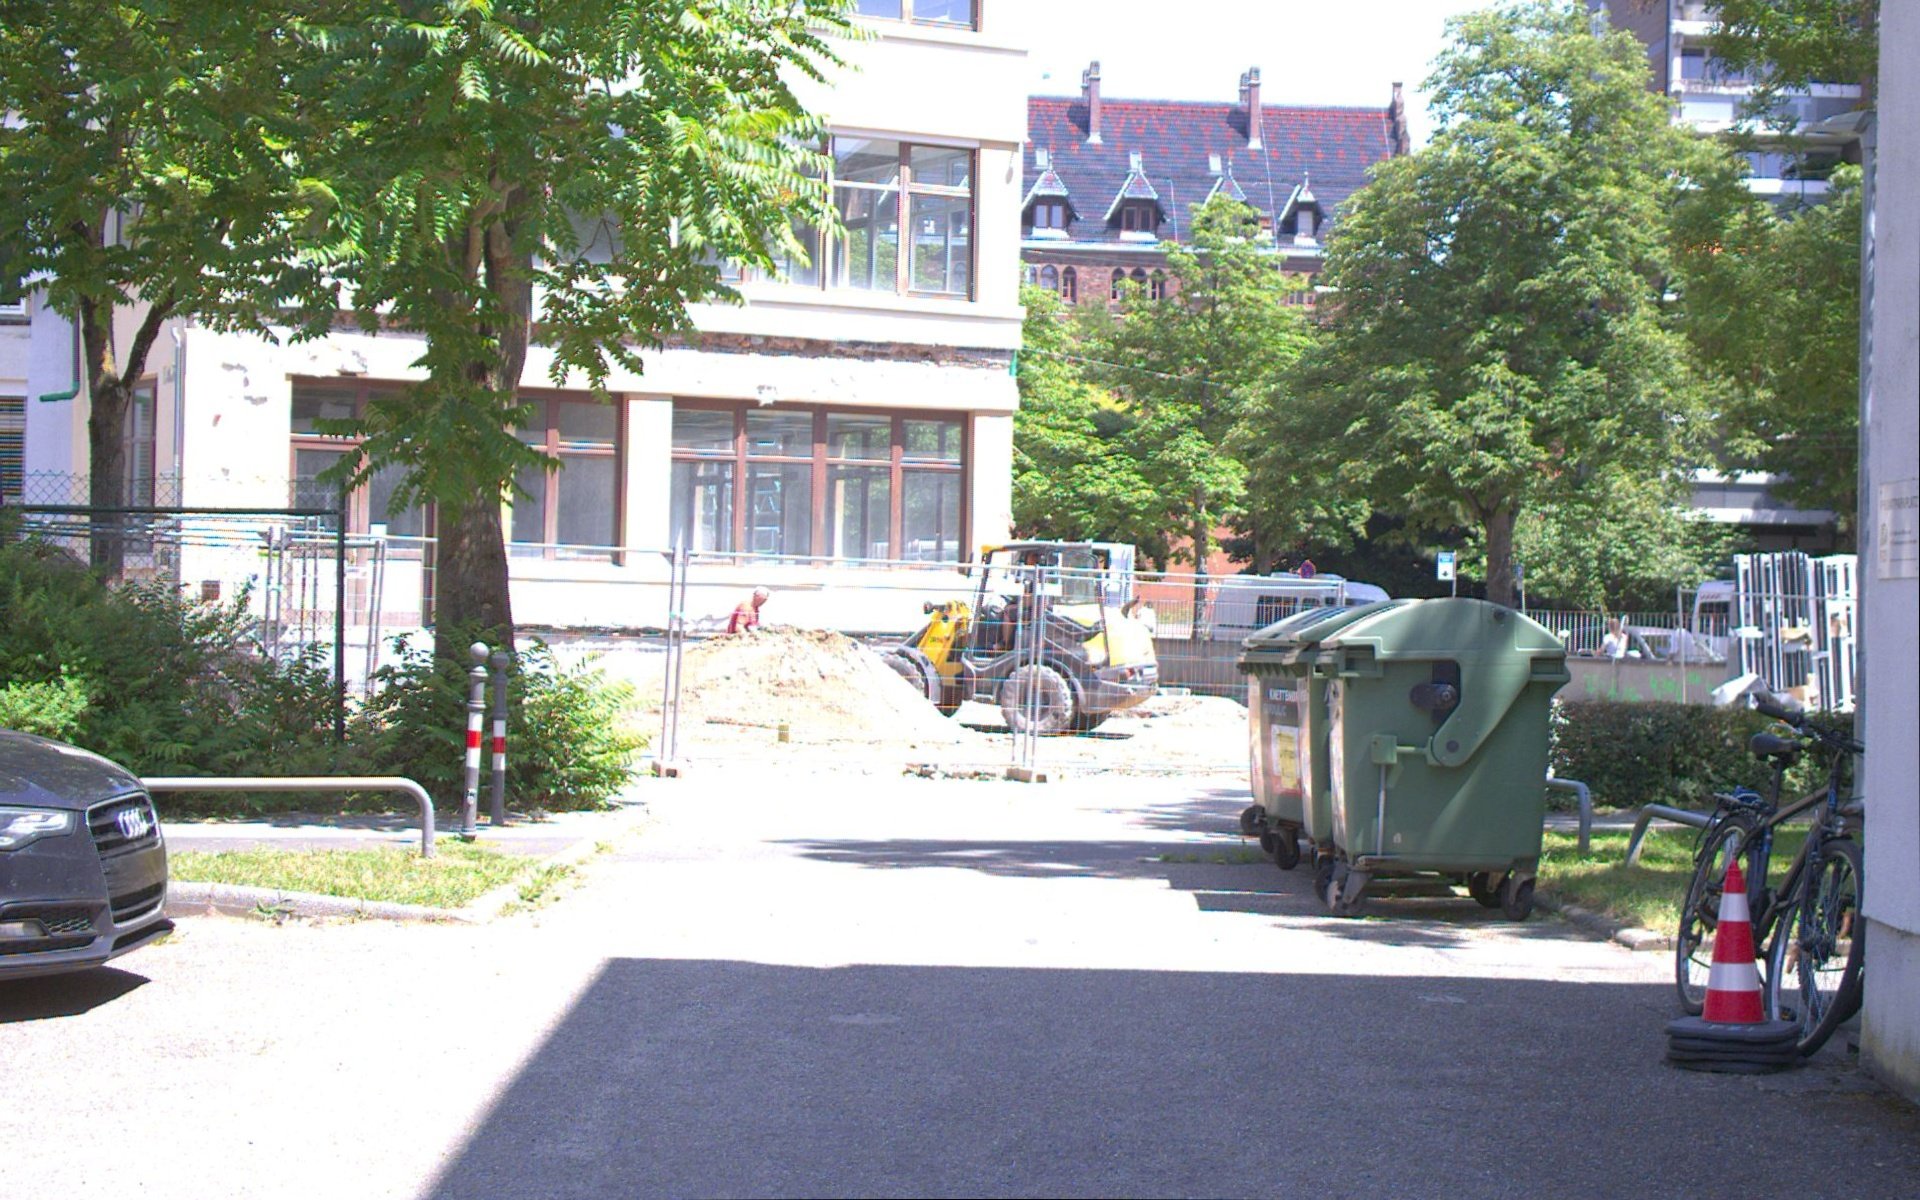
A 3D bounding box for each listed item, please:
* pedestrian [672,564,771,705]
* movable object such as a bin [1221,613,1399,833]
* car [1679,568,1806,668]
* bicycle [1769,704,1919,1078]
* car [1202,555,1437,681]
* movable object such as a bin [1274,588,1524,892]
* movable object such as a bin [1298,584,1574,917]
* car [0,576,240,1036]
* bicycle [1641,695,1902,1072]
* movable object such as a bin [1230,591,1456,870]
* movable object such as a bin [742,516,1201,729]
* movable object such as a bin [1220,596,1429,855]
[{"bbox_3d":[-3.181,0.460,45.842,0.914,1.840,0.986,2,-1,-34],"label":"pedestrian"},{"bbox_3d":[2.407,0.831,23.808,1.075,1.453,1.377,1,-1,1],"label":"movable object such as a bin"},{"bbox_3d":[18.474,0.439,80.991,2.187,2.250,4.863,1,-1,21],"label":"car"},{"bbox_3d":[3.110,0.919,11.388,0.405,1.098,1.826,1,-1,0],"label":"bicycle"},{"bbox_3d":[7.158,0.354,69.054,1.993,2.408,5.243,2,-1,-29],"label":"car"},{"bbox_3d":[2.198,0.686,17.408,1.075,1.453,1.377,1,-1,1],"label":"movable object such as a bin"},{"bbox_3d":[2.183,0.674,15.965,1.075,1.453,1.377,1,-1,1],"label":"movable object such as a bin"},{"bbox_3d":[-4.849,0.581,11.414,4.429,1.375,2.023,1,-1,2],"label":"car"},{"bbox_3d":[2.642,0.886,11.336,0.405,1.098,1.826,1,-1,0],"label":"bicycle"},{"bbox_3d":[2.082,0.696,18.881,1.075,1.453,1.377,1,-1,1],"label":"movable object such as a bin"},{"bbox_3d":[0.138,0.268,44.860,5.412,2.456,2.364,3,0,28],"label":"movable object such as a bin"},{"bbox_3d":[2.134,0.723,20.302,1.075,1.453,1.377,1,-1,1],"label":"movable object such as a bin"}]
